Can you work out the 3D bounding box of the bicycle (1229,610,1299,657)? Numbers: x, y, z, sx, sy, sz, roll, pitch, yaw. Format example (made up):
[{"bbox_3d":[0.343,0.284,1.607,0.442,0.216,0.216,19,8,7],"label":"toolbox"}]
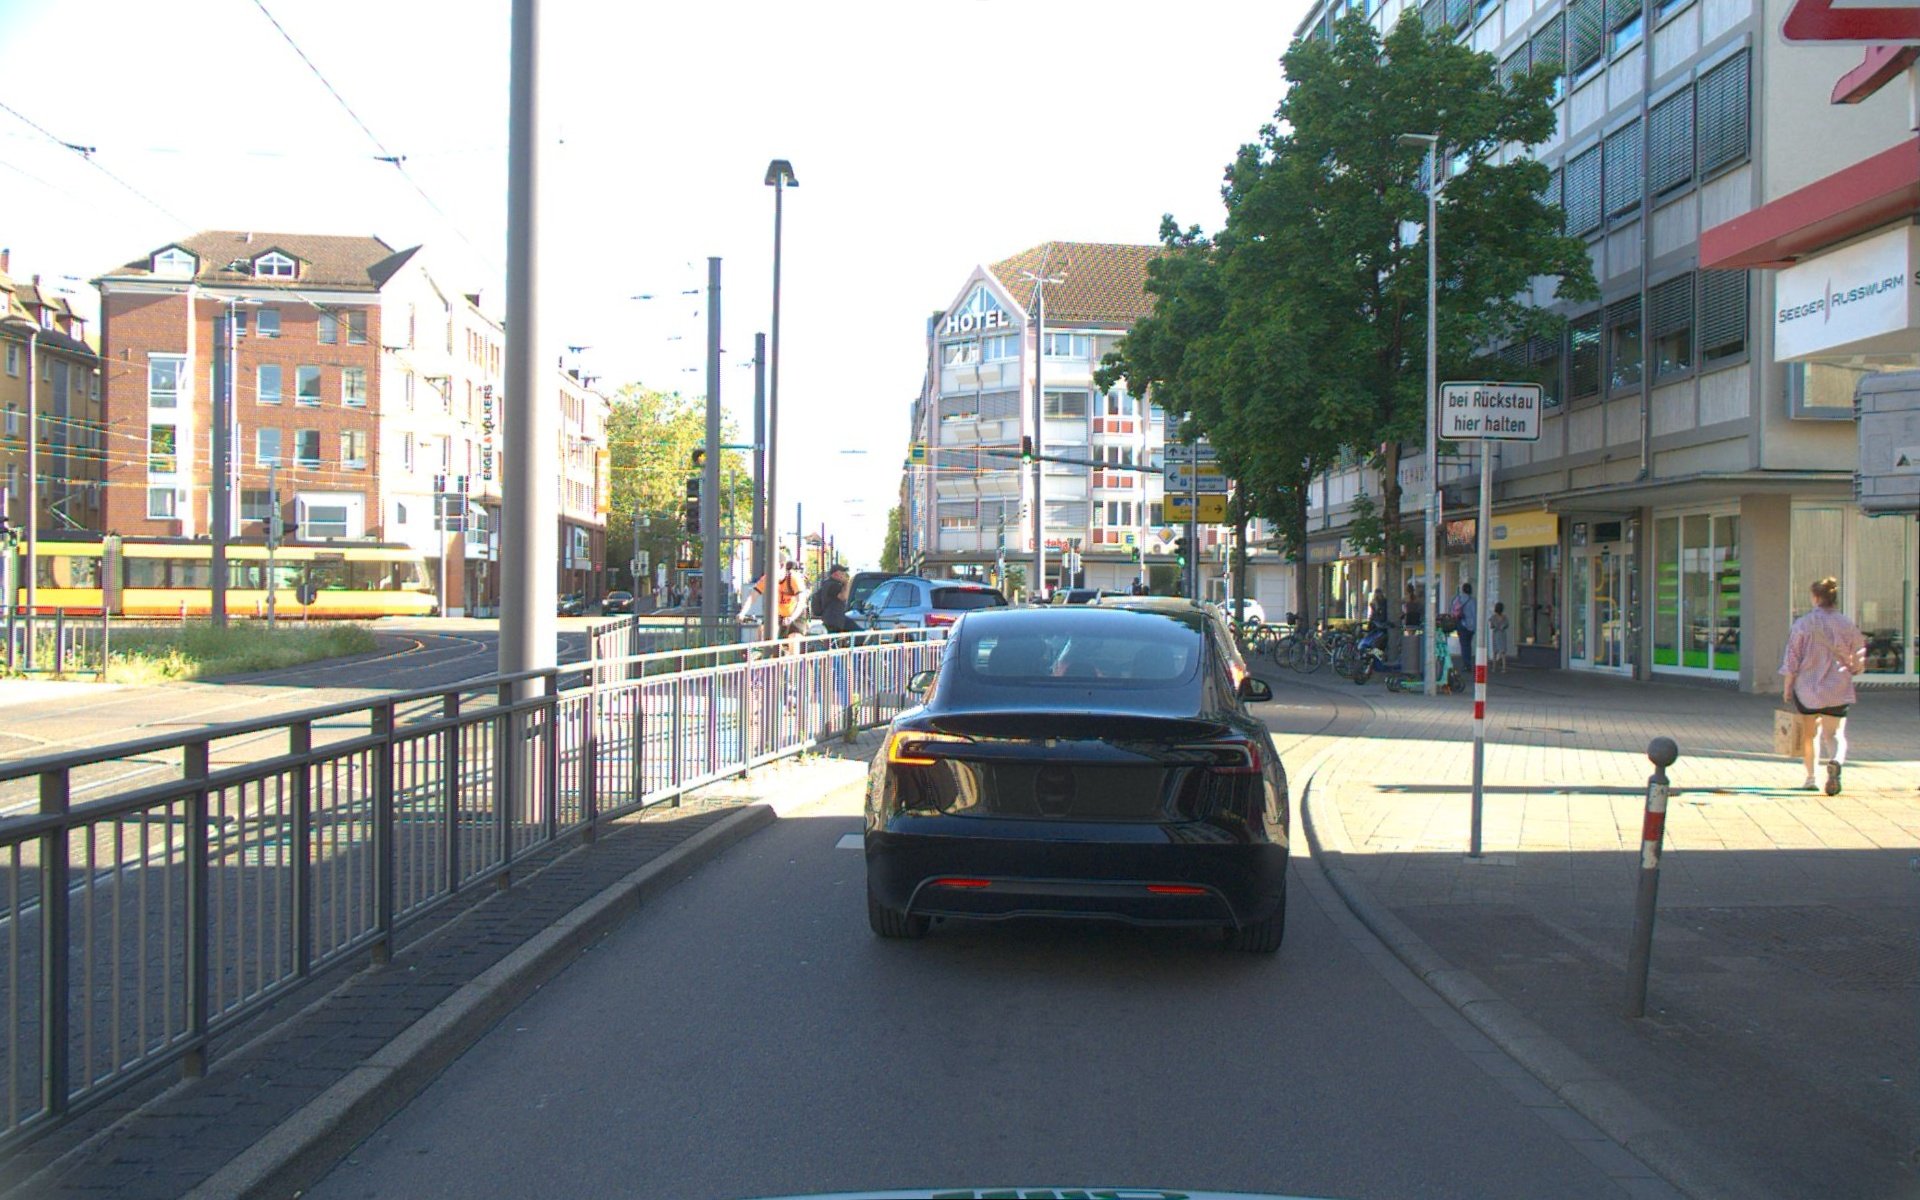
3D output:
[{"bbox_3d":[7.428,0.815,40.432,1.616,1.118,0.350,1,-1,1],"label":"bicycle"}]

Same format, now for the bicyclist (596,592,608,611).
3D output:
[{"bbox_3d":[-28.950,0.119,133.777,0.767,1.590,0.746,1,-1,1],"label":"bicyclist"}]

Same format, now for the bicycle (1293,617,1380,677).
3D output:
[{"bbox_3d":[7.278,0.907,31.960,1.620,1.118,0.349,1,-1,-11],"label":"bicycle"}]

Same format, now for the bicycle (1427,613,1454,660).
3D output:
[{"bbox_3d":[11.167,0.836,38.464,0.325,1.052,1.257,1,0,3],"label":"bicycle"}]

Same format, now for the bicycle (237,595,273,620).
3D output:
[{"bbox_3d":[-28.595,0.302,67.151,0.513,0.988,2.246,1,0,-1],"label":"bicycle"}]

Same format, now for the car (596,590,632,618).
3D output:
[{"bbox_3d":[-22.148,0.258,105.893,1.663,1.762,3.704,1,0,-3],"label":"car"}]

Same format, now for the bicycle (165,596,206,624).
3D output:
[{"bbox_3d":[-28.271,0.370,60.384,0.437,0.988,2.246,1,0,-1],"label":"bicycle"}]

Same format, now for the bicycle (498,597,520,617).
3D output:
[{"bbox_3d":[-26.593,0.414,97.509,0.526,1.107,2.226,1,0,5],"label":"bicycle"}]

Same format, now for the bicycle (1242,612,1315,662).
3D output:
[{"bbox_3d":[7.383,0.862,38.391,1.616,1.118,0.350,1,-1,1],"label":"bicycle"}]

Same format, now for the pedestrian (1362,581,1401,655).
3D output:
[{"bbox_3d":[9.825,0.423,38.564,0.685,1.691,0.777,1,-1,-1],"label":"pedestrian"}]

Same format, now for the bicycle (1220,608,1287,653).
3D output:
[{"bbox_3d":[7.363,0.772,41.477,1.616,1.118,0.350,0,0,1],"label":"bicycle"}]

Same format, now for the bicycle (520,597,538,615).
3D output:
[{"bbox_3d":[-26.617,0.368,102.145,0.518,1.107,2.284,0,0,0],"label":"bicycle"}]

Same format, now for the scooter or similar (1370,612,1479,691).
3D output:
[{"bbox_3d":[7.662,0.839,27.284,1.610,1.236,0.644,1,-1,30],"label":"scooter or similar"}]

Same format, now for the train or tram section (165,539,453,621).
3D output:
[{"bbox_3d":[-27.687,-0.784,70.758,11.130,3.185,2.772,1,0,-34],"label":"train or tram section"}]

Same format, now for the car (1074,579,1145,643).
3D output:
[{"bbox_3d":[4.348,0.306,48.542,1.685,1.781,3.753,1,0,-1],"label":"car"}]

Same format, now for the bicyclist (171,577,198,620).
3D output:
[{"bbox_3d":[-28.270,-0.048,60.323,0.620,1.529,0.696,1,-1,-1],"label":"bicyclist"}]

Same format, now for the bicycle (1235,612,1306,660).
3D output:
[{"bbox_3d":[7.399,0.863,39.418,1.616,1.118,0.350,1,-1,1],"label":"bicycle"}]

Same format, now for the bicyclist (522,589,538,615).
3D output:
[{"bbox_3d":[-26.578,0.126,102.180,0.768,1.590,0.746,0,0,0],"label":"bicyclist"}]

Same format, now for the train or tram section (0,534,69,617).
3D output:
[{"bbox_3d":[-42.386,-1.065,64.105,13.443,3.185,2.723,1,0,-15],"label":"train or tram section"}]

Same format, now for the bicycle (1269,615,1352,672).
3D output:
[{"bbox_3d":[7.095,0.884,33.485,1.620,1.118,0.349,1,-1,-11],"label":"bicycle"}]

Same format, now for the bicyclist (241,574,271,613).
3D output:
[{"bbox_3d":[-28.592,-0.266,67.158,0.880,1.529,0.696,1,-1,-1],"label":"bicyclist"}]

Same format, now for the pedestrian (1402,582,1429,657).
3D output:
[{"bbox_3d":[10.695,0.461,38.832,0.515,1.740,0.403,1,-1,5],"label":"pedestrian"}]

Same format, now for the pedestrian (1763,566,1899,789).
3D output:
[{"bbox_3d":[6.895,0.590,13.131,0.872,1.696,0.808,1,-1,23],"label":"pedestrian"}]

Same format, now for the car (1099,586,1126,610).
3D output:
[{"bbox_3d":[7.205,-0.097,78.064,0.902,1.119,1.869,0,0,16],"label":"car"}]

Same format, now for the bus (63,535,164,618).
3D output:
[{"bbox_3d":[-34.032,-0.910,66.622,3.472,3.185,2.749,1,0,-26],"label":"bus"}]

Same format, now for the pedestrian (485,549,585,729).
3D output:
[{"bbox_3d":[-4.165,0.371,16.252,0.578,1.710,0.774,1,-1,22],"label":"pedestrian"}]

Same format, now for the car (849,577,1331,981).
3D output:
[{"bbox_3d":[0.625,0.678,8.233,1.791,1.481,4.002,1,0,4],"label":"car"}]

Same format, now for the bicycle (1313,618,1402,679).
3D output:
[{"bbox_3d":[7.479,0.916,31.118,1.620,1.118,0.349,1,-1,-11],"label":"bicycle"}]

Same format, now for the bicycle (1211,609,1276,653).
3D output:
[{"bbox_3d":[7.293,0.796,42.569,1.616,1.118,0.350,1,-1,1],"label":"bicycle"}]

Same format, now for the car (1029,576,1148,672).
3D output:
[{"bbox_3d":[2.543,0.469,33.581,1.568,1.809,3.974,1,0,-8],"label":"car"}]

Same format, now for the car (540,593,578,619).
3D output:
[{"bbox_3d":[-24.768,0.377,102.357,1.677,1.553,4.032,1,0,-5],"label":"car"}]

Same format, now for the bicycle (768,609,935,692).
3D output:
[{"bbox_3d":[-1.451,0.678,22.462,2.313,1.072,0.622,1,-1,-39],"label":"bicycle"}]

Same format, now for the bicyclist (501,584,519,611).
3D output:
[{"bbox_3d":[-26.591,-0.138,97.744,0.767,1.590,0.747,1,-1,4],"label":"bicyclist"}]

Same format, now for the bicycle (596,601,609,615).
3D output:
[{"bbox_3d":[-28.914,0.654,133.664,0.518,1.107,2.225,1,0,1],"label":"bicycle"}]

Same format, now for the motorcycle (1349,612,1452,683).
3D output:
[{"bbox_3d":[7.808,0.839,29.360,1.673,1.194,0.541,1,-1,-3],"label":"motorcycle"}]

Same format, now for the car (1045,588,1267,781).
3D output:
[{"bbox_3d":[1.728,0.648,15.006,1.714,1.480,4.003,1,0,6],"label":"car"}]

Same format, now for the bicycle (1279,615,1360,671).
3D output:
[{"bbox_3d":[7.443,0.892,34.225,1.620,1.118,0.349,1,-1,-11],"label":"bicycle"}]

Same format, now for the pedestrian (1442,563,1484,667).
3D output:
[{"bbox_3d":[10.025,0.293,32.950,0.648,2.049,0.579,1,-1,1],"label":"pedestrian"}]

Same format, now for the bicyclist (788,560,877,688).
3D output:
[{"bbox_3d":[-1.714,0.315,22.188,0.753,1.657,0.964,1,-1,-39],"label":"bicyclist"}]

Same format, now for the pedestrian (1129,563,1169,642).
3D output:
[{"bbox_3d":[4.977,0.074,43.626,0.902,2.049,0.972,1,-1,-1],"label":"pedestrian"}]

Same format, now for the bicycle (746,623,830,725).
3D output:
[{"bbox_3d":[-1.795,0.752,17.441,0.394,1.011,1.604,1,0,12],"label":"bicycle"}]

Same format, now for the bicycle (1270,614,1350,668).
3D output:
[{"bbox_3d":[7.499,0.882,35.440,1.616,1.118,0.350,1,-1,1],"label":"bicycle"}]

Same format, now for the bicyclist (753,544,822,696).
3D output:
[{"bbox_3d":[-1.805,0.203,17.435,0.382,1.548,1.044,1,0,13],"label":"bicyclist"}]

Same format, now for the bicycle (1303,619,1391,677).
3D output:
[{"bbox_3d":[7.382,0.919,31.538,1.620,1.079,0.349,1,-1,-11],"label":"bicycle"}]

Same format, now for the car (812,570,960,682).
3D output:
[{"bbox_3d":[-1.527,0.483,32.518,1.962,2.049,3.981,0,0,-17],"label":"car"}]

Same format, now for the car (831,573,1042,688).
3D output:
[{"bbox_3d":[-0.467,0.455,26.495,1.859,1.691,4.125,1,0,-25],"label":"car"}]

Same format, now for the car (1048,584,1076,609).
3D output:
[{"bbox_3d":[4.721,-0.161,76.156,0.902,1.119,1.869,1,0,16],"label":"car"}]

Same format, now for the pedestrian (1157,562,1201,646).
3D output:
[{"bbox_3d":[5.437,0.105,41.100,0.902,2.049,0.972,1,-1,-1],"label":"pedestrian"}]

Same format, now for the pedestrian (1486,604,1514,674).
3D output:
[{"bbox_3d":[10.714,0.764,32.820,0.381,1.367,0.513,1,-1,1],"label":"pedestrian"}]
